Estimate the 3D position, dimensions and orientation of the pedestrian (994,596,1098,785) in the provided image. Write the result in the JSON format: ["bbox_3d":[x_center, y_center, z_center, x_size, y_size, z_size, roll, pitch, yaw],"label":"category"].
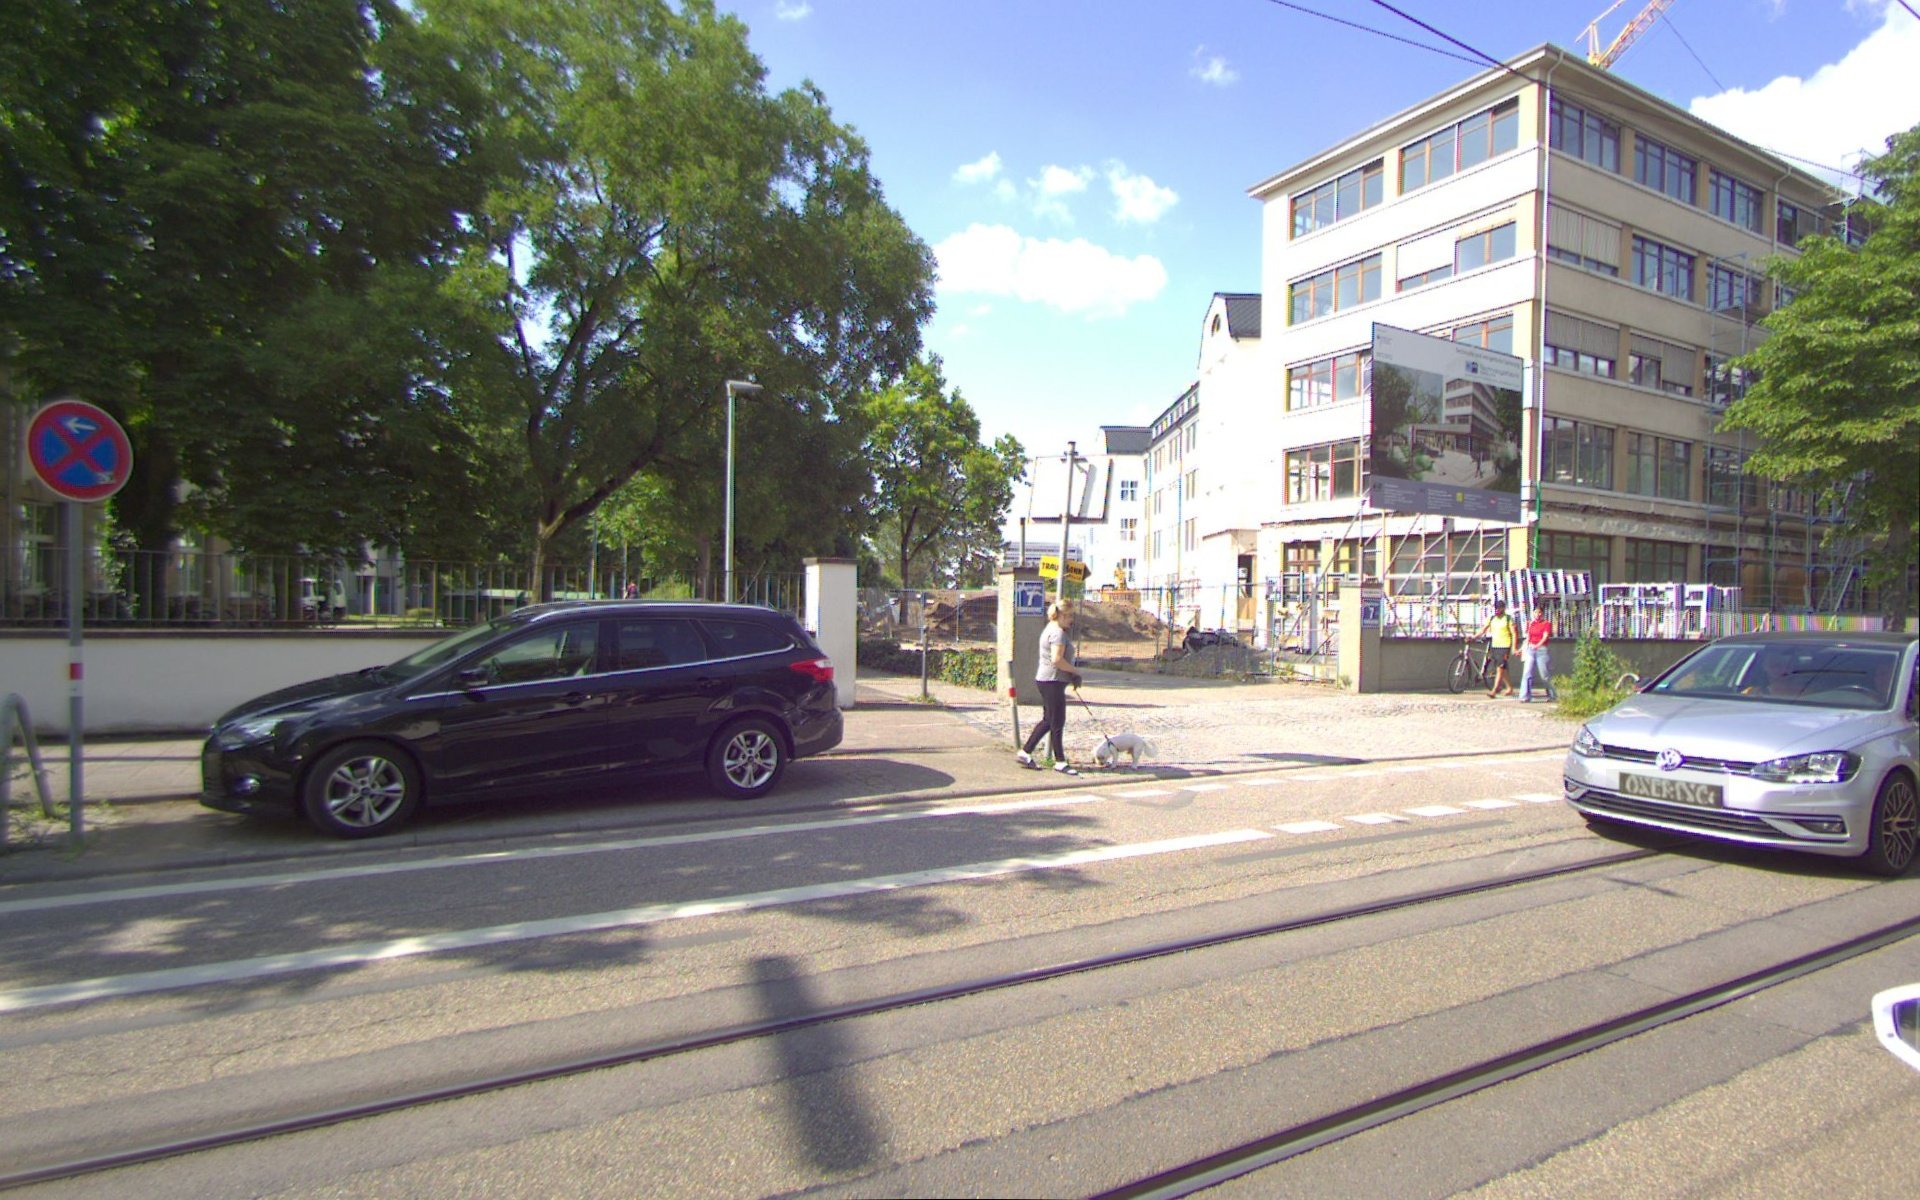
[{"bbox_3d":[0.811,0.809,9.420,0.714,1.659,0.691,2,1,27],"label":"pedestrian"}]

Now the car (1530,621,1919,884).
[{"bbox_3d":[6.057,0.894,7.220,3.807,1.435,1.765,2,-2,-30],"label":"car"}]

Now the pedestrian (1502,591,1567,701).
[{"bbox_3d":[10.199,0.798,17.830,0.655,1.857,0.702,-1,4,-34],"label":"pedestrian"}]

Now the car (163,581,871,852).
[{"bbox_3d":[-3.114,0.710,7.743,4.542,1.536,1.739,2,1,-33],"label":"car"}]

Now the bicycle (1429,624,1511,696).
[{"bbox_3d":[9.562,1.111,18.805,1.716,1.303,0.444,1,0,-28],"label":"bicycle"}]

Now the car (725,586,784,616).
[{"bbox_3d":[-14.468,0.082,70.865,3.925,2.040,1.998,1,0,-7],"label":"car"}]

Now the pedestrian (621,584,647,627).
[{"bbox_3d":[-12.675,0.209,39.080,0.751,1.642,0.594,1,0,9],"label":"pedestrian"}]

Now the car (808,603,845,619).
[{"bbox_3d":[-13.654,1.127,102.816,3.595,1.509,1.785,1,0,-3],"label":"car"}]

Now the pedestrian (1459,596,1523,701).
[{"bbox_3d":[9.691,0.870,18.327,0.655,1.817,0.702,1,3,-35],"label":"pedestrian"}]

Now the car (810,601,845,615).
[{"bbox_3d":[-14.558,0.867,110.199,3.594,1.509,1.786,1,0,0],"label":"car"}]

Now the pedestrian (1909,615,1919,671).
[{"bbox_3d":[28.801,1.299,29.790,0.587,1.642,0.761,1,1,-29],"label":"pedestrian"}]
